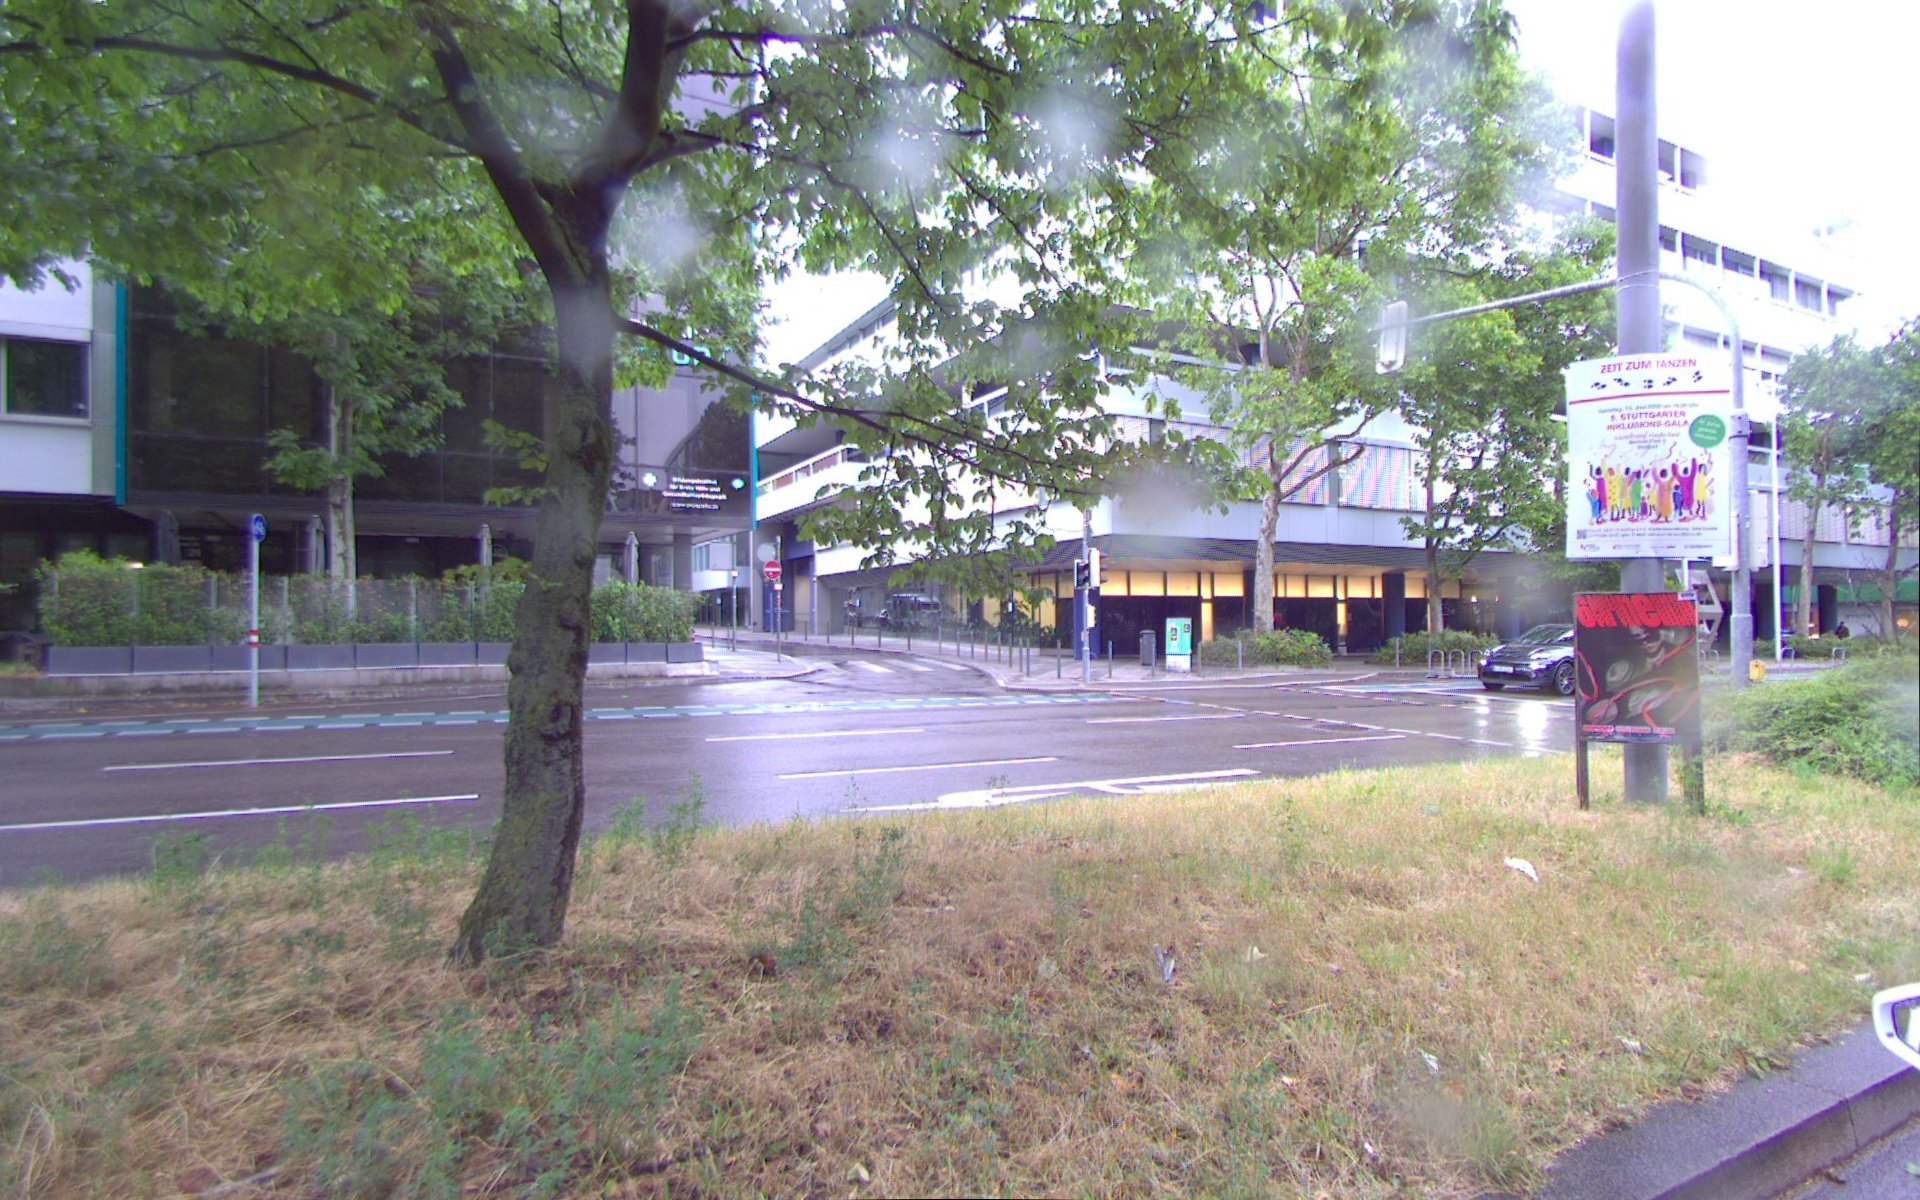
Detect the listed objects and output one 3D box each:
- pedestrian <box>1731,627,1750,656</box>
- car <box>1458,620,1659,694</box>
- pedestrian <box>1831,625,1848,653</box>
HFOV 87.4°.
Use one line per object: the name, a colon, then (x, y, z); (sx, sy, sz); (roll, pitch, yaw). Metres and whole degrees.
pedestrian: (39.035, 2.073, 50.249); (0.470, 1.398, 0.632); (2, 0, -40)
car: (14.510, 1.360, 24.329); (4.683, 1.605, 1.903); (2, 0, -26)
pedestrian: (49.793, 2.205, 56.878); (0.601, 1.502, 0.573); (2, 0, 32)
